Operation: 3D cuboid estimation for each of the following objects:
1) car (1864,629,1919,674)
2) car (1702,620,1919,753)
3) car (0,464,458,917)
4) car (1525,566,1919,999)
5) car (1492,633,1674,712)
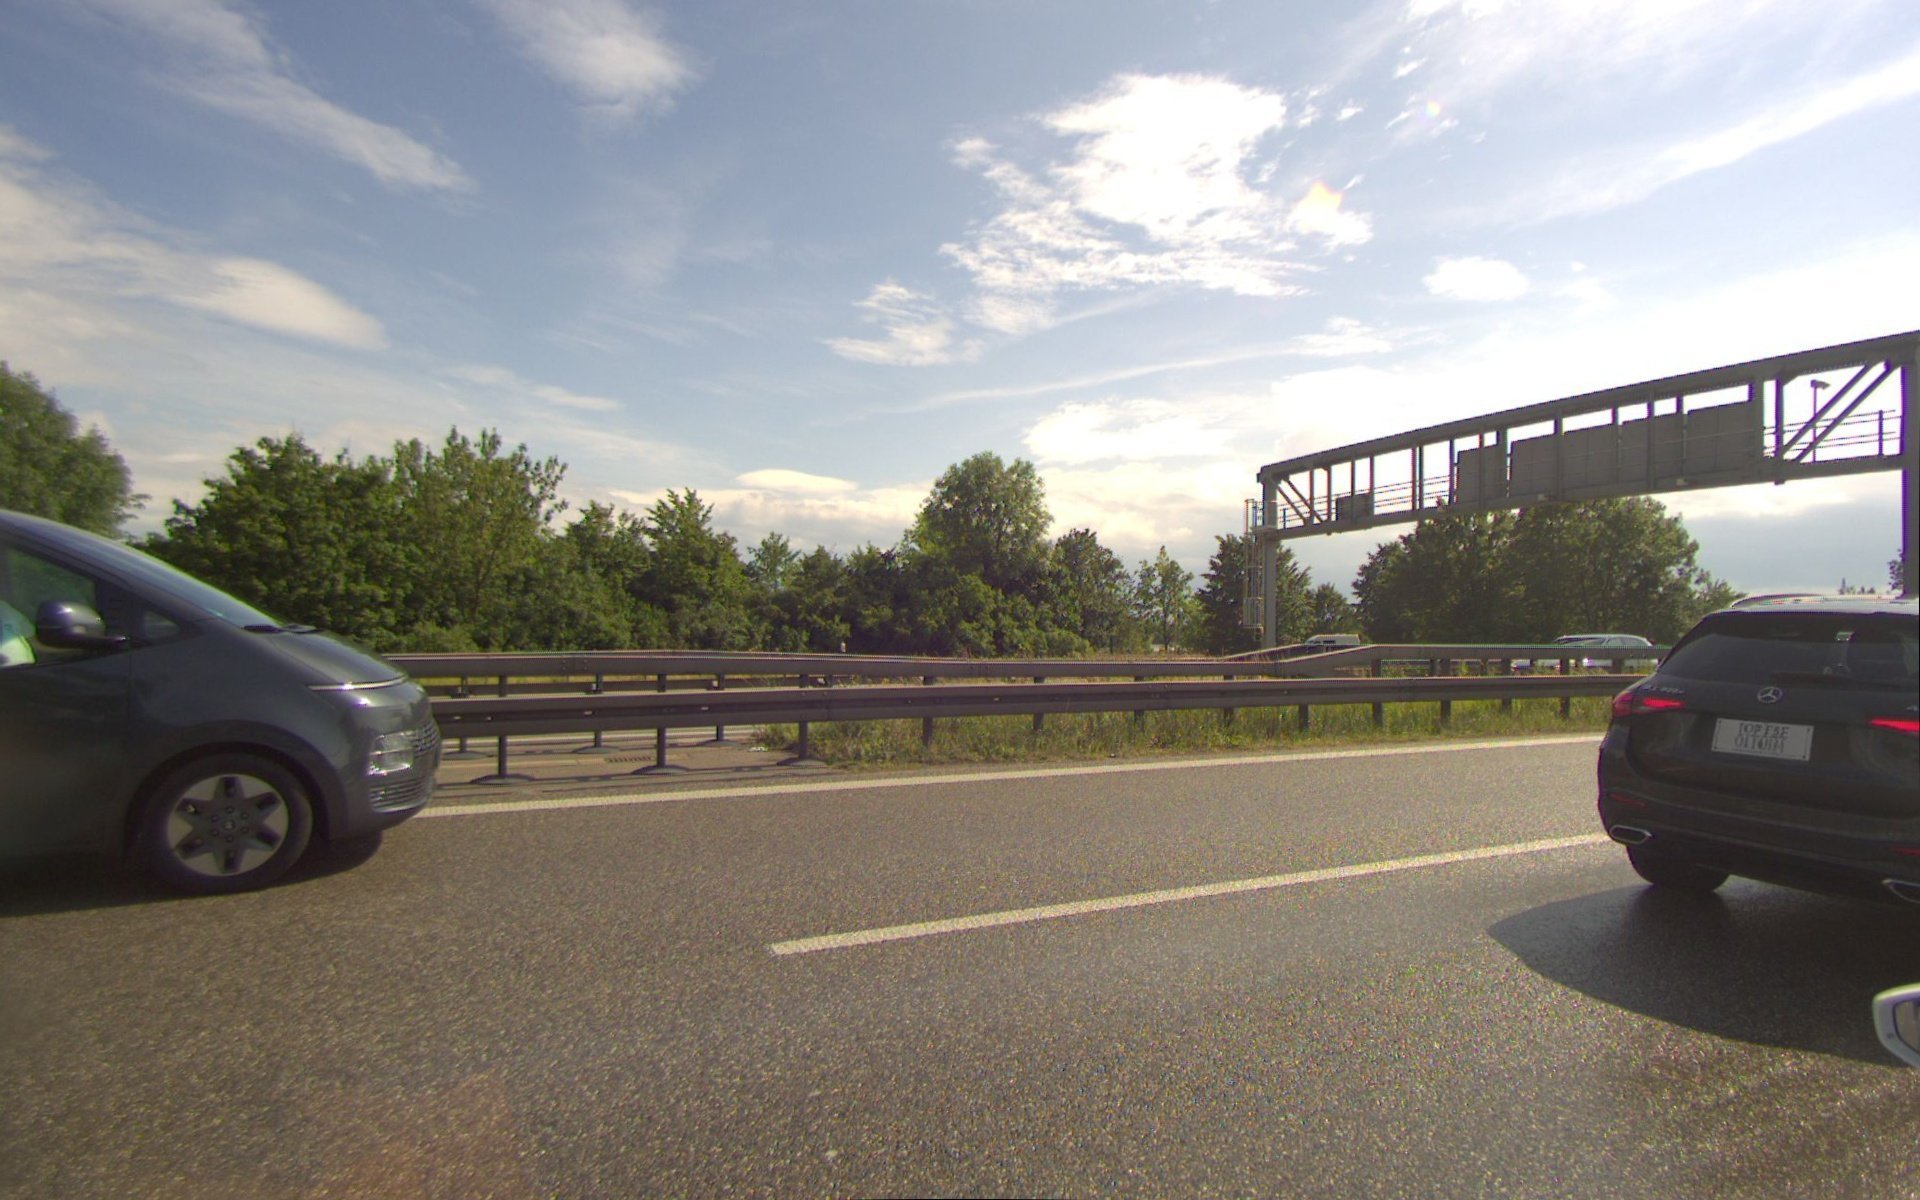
[{"bbox_3d":[38.440,2.052,40.209,4.404,1.710,1.986,1,-1,-28],"label":"car"},{"bbox_3d":[12.114,1.075,13.489,4.153,1.537,1.751,1,-1,-26],"label":"car"},{"bbox_3d":[-5.460,0.394,5.058,5.202,2.040,1.986,1,-1,-27],"label":"car"},{"bbox_3d":[5.418,0.773,5.460,4.348,1.683,1.987,2,-1,-26],"label":"car"},{"bbox_3d":[14.635,1.636,23.568,3.952,1.645,1.984,1,-1,-30],"label":"car"}]
